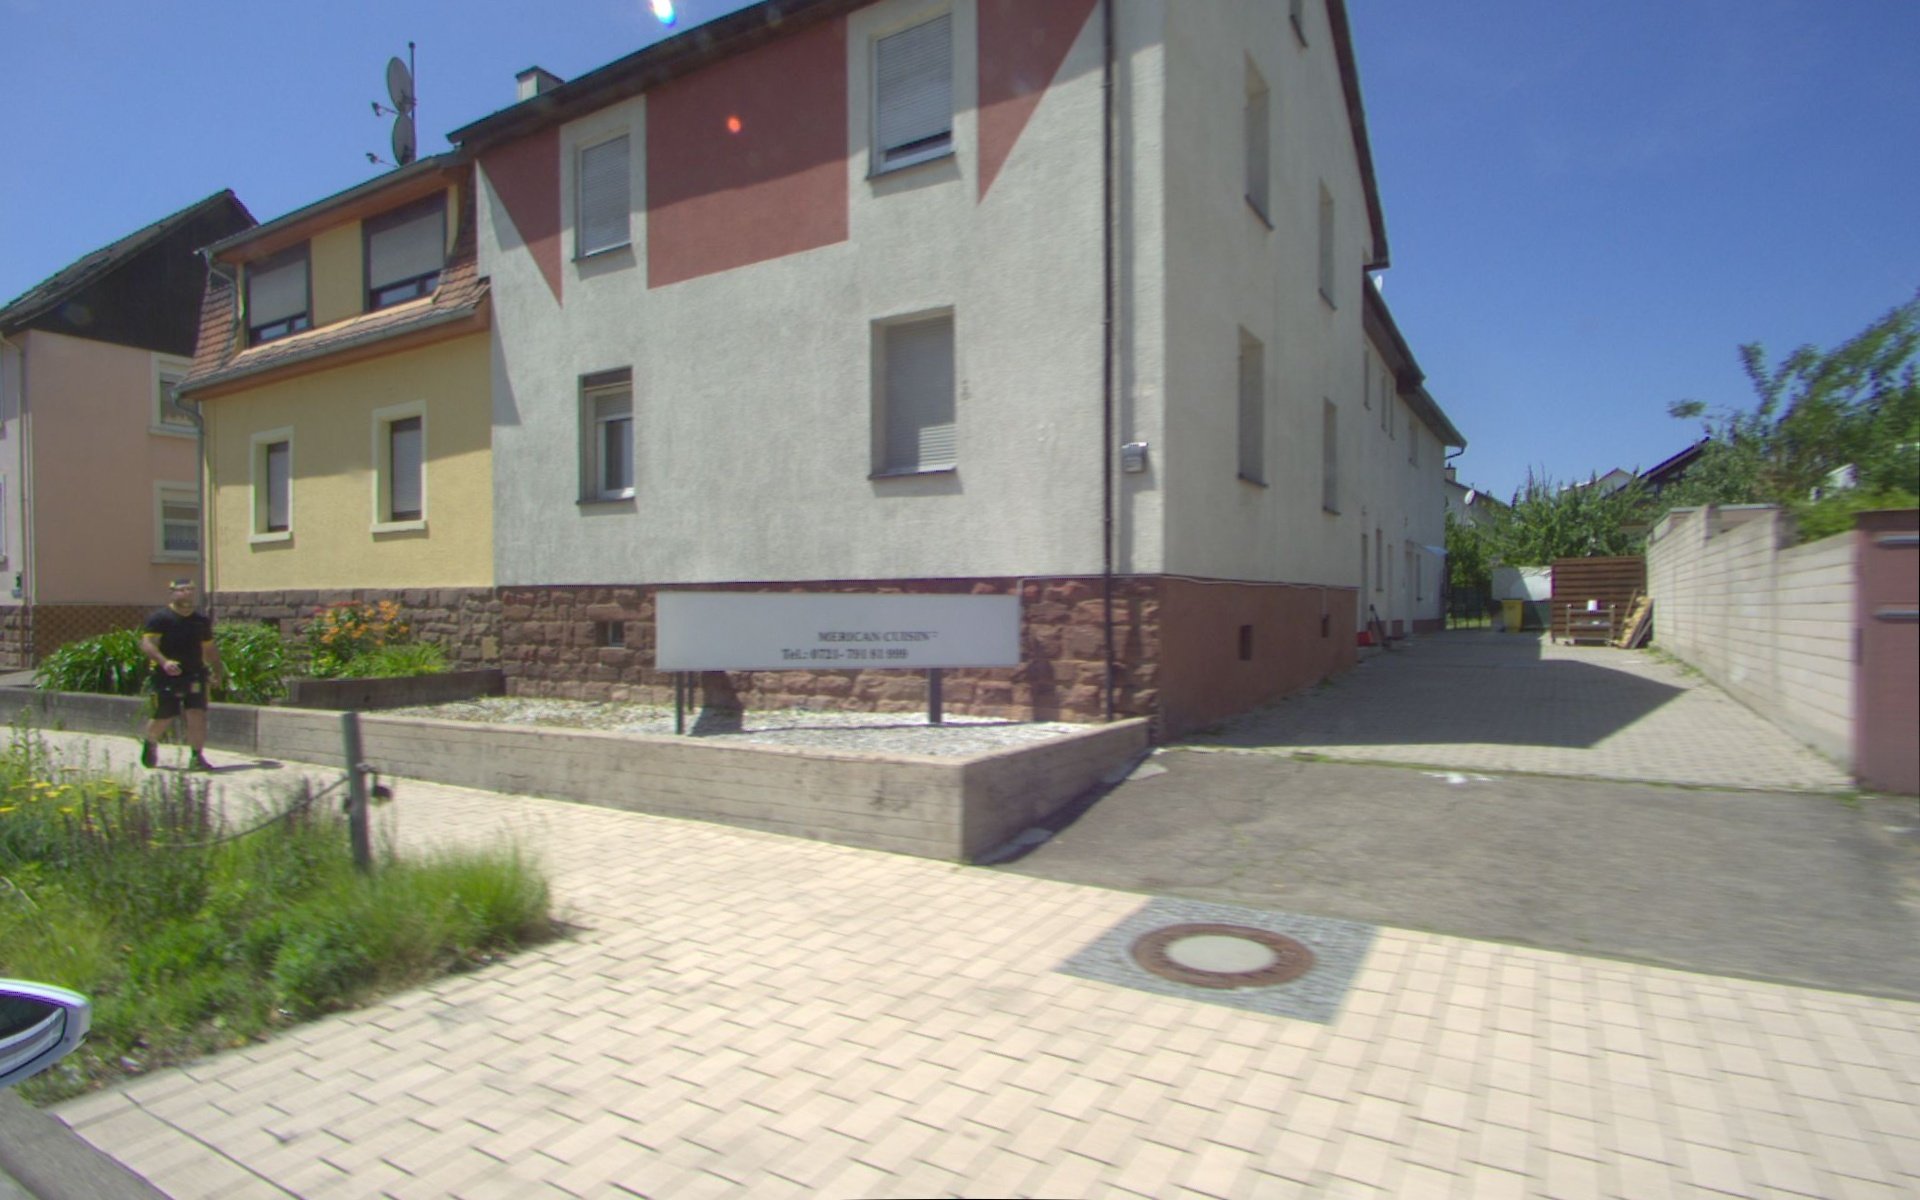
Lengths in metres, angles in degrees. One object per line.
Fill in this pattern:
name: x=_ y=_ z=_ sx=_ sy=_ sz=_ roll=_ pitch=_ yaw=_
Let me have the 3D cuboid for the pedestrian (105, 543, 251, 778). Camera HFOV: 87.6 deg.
pedestrian: x=-7.244 y=0.551 z=9.279 sx=1.019 sy=2.039 sz=0.745 roll=-2 pitch=-2 yaw=33
